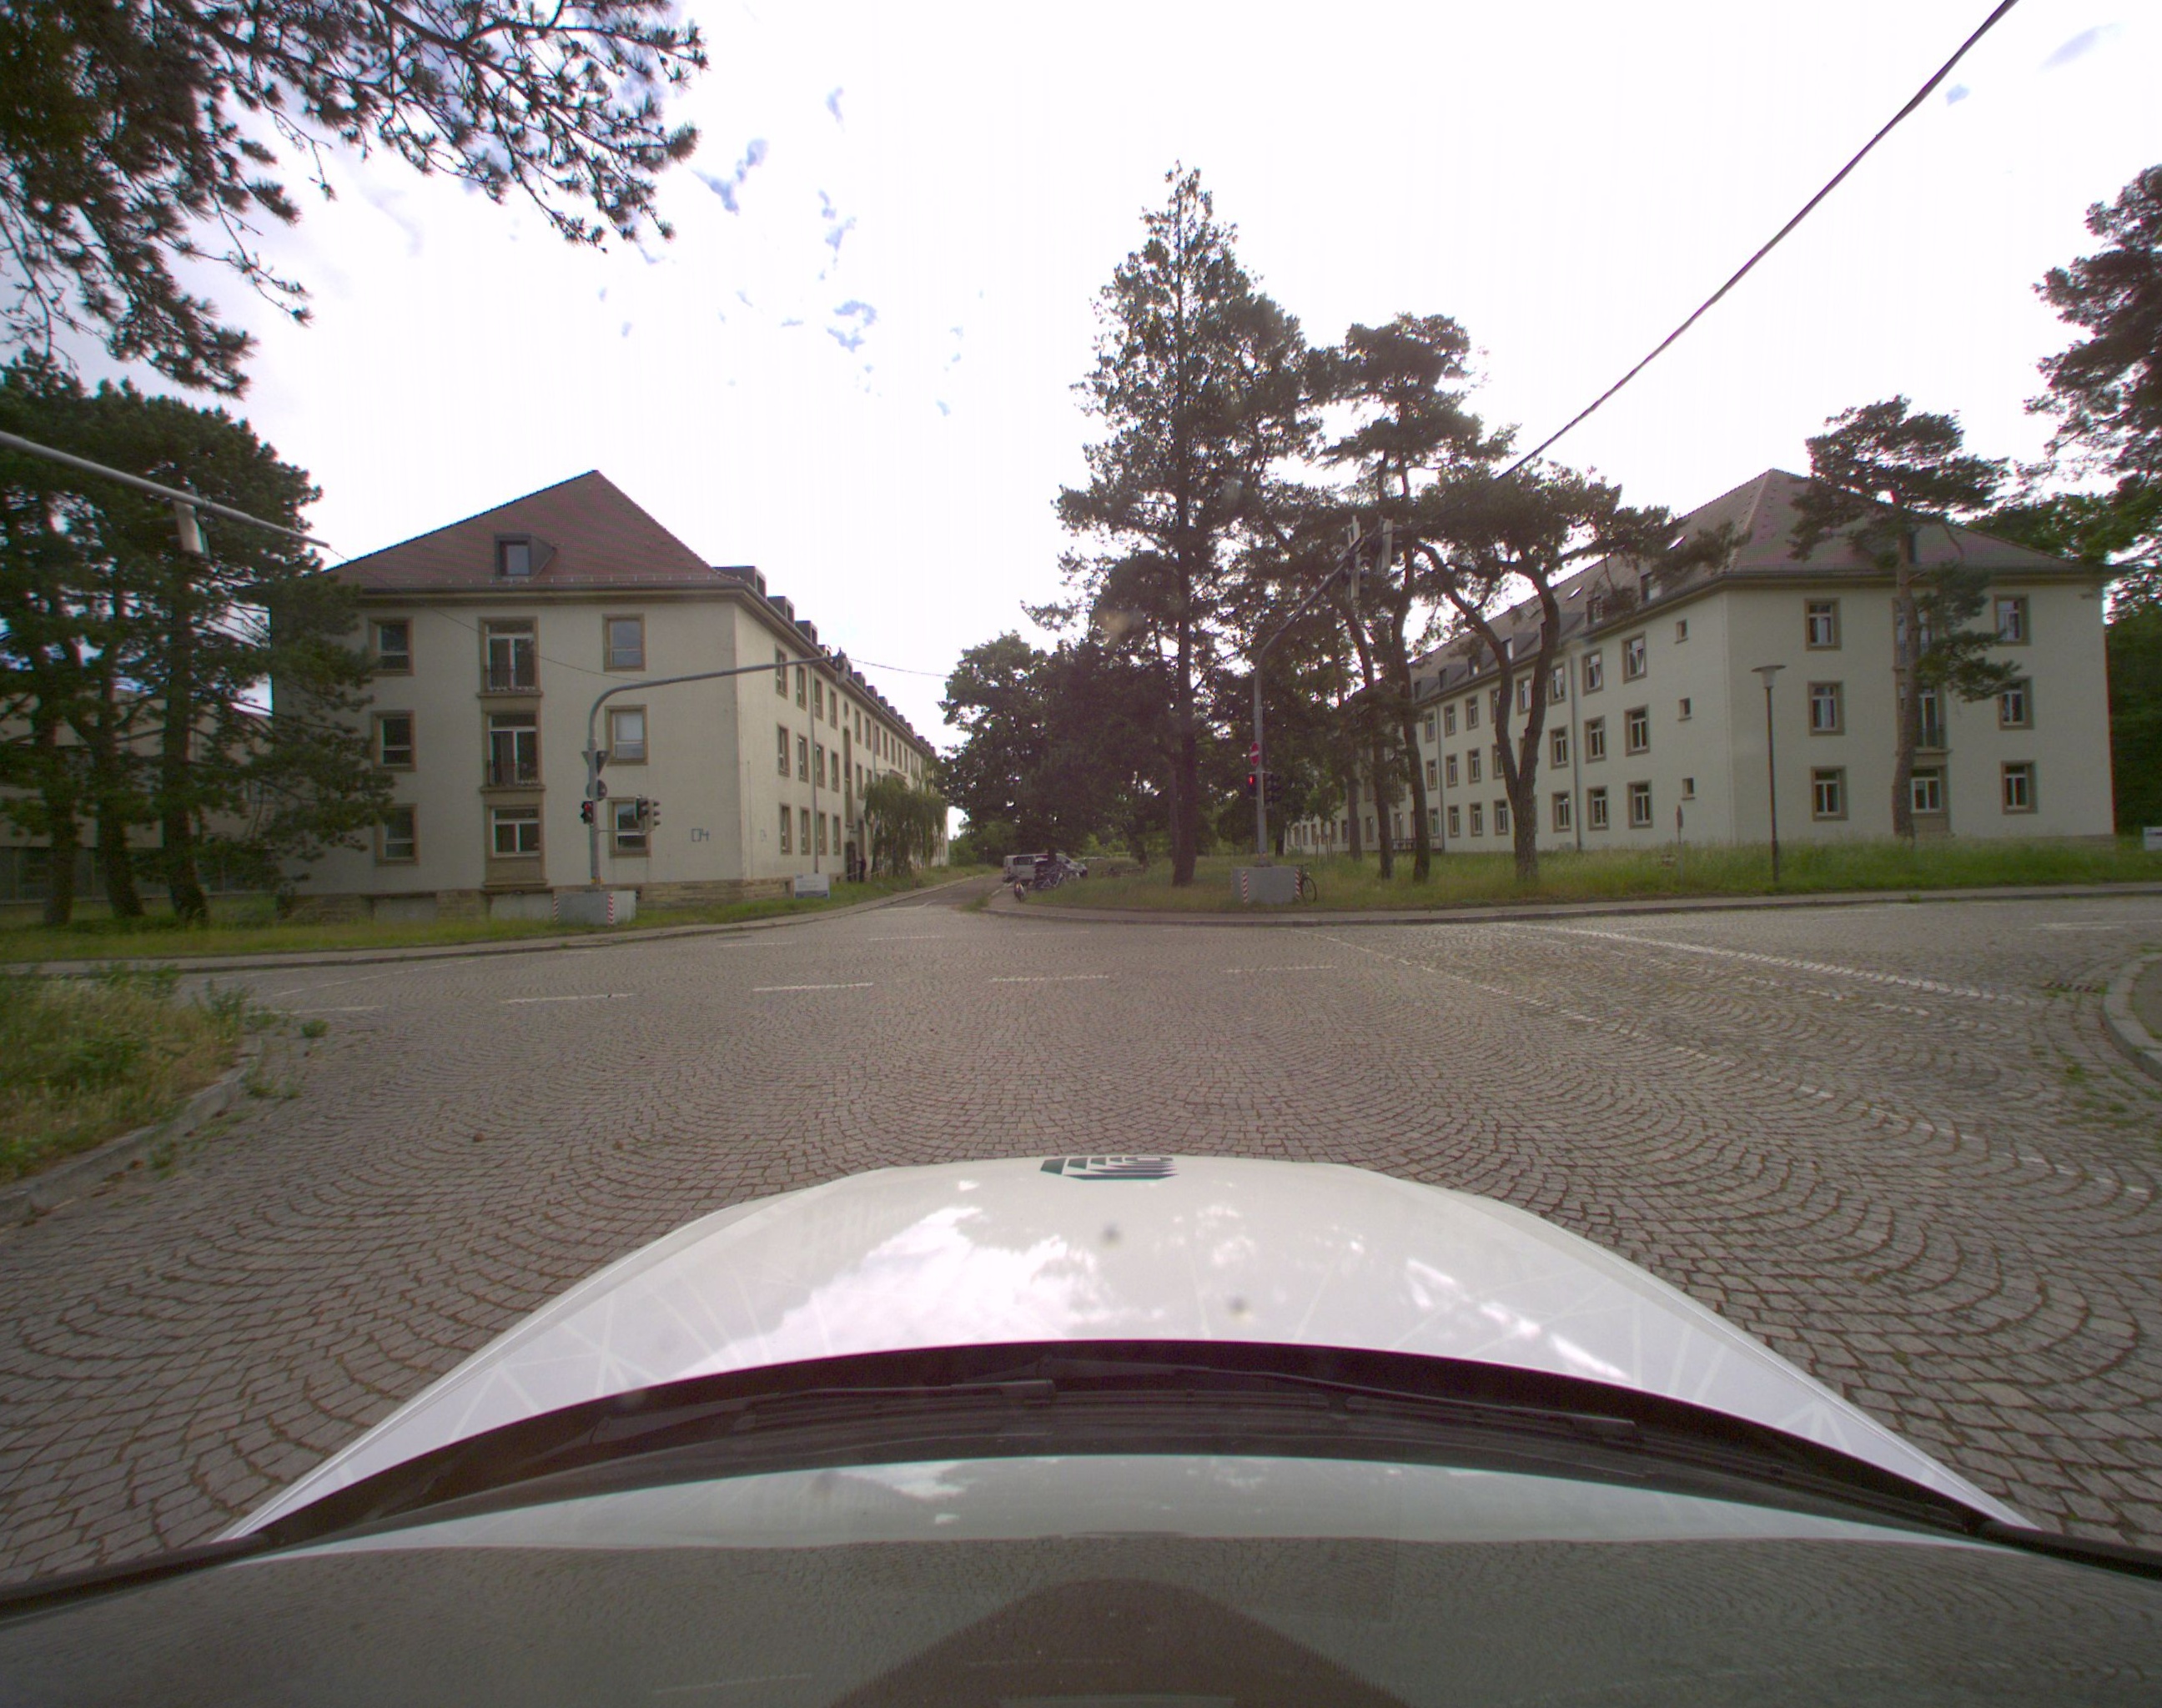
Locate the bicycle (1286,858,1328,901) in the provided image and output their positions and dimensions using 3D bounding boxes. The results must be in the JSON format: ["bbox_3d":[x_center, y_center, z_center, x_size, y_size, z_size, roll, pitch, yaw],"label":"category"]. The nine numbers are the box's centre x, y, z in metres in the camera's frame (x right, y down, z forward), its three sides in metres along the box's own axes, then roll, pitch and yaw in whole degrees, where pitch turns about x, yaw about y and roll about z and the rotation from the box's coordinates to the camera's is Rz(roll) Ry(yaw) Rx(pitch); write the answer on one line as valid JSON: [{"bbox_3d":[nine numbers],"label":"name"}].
[{"bbox_3d":[5.757,0.636,20.827,0.578,0.970,1.678,-4,1,2],"label":"bicycle"}]

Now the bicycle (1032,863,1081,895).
[{"bbox_3d":[-1.000,1.010,33.512,1.979,1.248,0.623,-1,-1,-5],"label":"bicycle"}]

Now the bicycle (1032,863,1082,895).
[{"bbox_3d":[-0.966,1.003,32.884,1.979,1.248,0.623,-1,-1,-5],"label":"bicycle"}]

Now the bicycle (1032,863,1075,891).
[{"bbox_3d":[-1.277,1.065,38.034,1.979,1.248,0.623,-1,-1,-5],"label":"bicycle"}]

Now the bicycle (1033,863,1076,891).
[{"bbox_3d":[-1.227,1.058,37.523,1.979,1.248,0.623,-1,-1,-5],"label":"bicycle"}]

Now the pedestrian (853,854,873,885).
[{"bbox_3d":[-12.894,0.926,48.157,0.834,1.781,0.942,-2,0,3],"label":"pedestrian"}]

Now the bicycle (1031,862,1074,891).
[{"bbox_3d":[-1.356,1.079,39.184,1.979,1.248,0.623,-4,-1,-5],"label":"bicycle"}]

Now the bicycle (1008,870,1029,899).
[{"bbox_3d":[-2.394,1.158,31.383,0.620,1.082,1.678,-1,-1,2],"label":"bicycle"}]

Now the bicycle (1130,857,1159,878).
[{"bbox_3d":[3.636,0.772,46.707,1.544,1.124,0.401,-2,-1,-2],"label":"bicycle"}]

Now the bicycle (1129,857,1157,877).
[{"bbox_3d":[3.647,0.783,47.940,1.544,1.124,0.401,-2,-1,-2],"label":"bicycle"}]

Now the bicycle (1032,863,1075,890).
[{"bbox_3d":[-1.320,1.071,38.526,1.979,1.248,0.623,-1,-1,-5],"label":"bicycle"}]

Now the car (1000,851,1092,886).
[{"bbox_3d":[-2.220,0.883,50.928,5.318,1.916,2.137,-3,0,-18],"label":"car"}]

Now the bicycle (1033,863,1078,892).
[{"bbox_3d":[-1.152,1.045,36.449,1.979,1.248,0.623,-1,-1,-5],"label":"bicycle"}]

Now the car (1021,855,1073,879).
[{"bbox_3d":[-2.705,1.018,64.795,4.024,1.718,1.678,-2,-1,-4],"label":"car"}]

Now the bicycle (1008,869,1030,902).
[{"bbox_3d":[-2.223,1.118,29.437,0.620,1.113,1.989,-1,-1,0],"label":"bicycle"}]

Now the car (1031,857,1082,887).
[{"bbox_3d":[-1.427,1.010,47.492,2.841,1.558,1.470,-3,1,-4],"label":"car"}]

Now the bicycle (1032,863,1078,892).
[{"bbox_3d":[-1.139,1.039,35.924,1.979,1.248,0.623,-1,-1,-5],"label":"bicycle"}]

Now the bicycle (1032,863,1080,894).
[{"bbox_3d":[-1.064,1.021,34.435,1.979,1.248,0.623,-1,-1,-5],"label":"bicycle"}]

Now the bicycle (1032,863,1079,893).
[{"bbox_3d":[-1.111,1.032,35.292,1.979,1.248,0.623,-1,-1,-5],"label":"bicycle"}]
